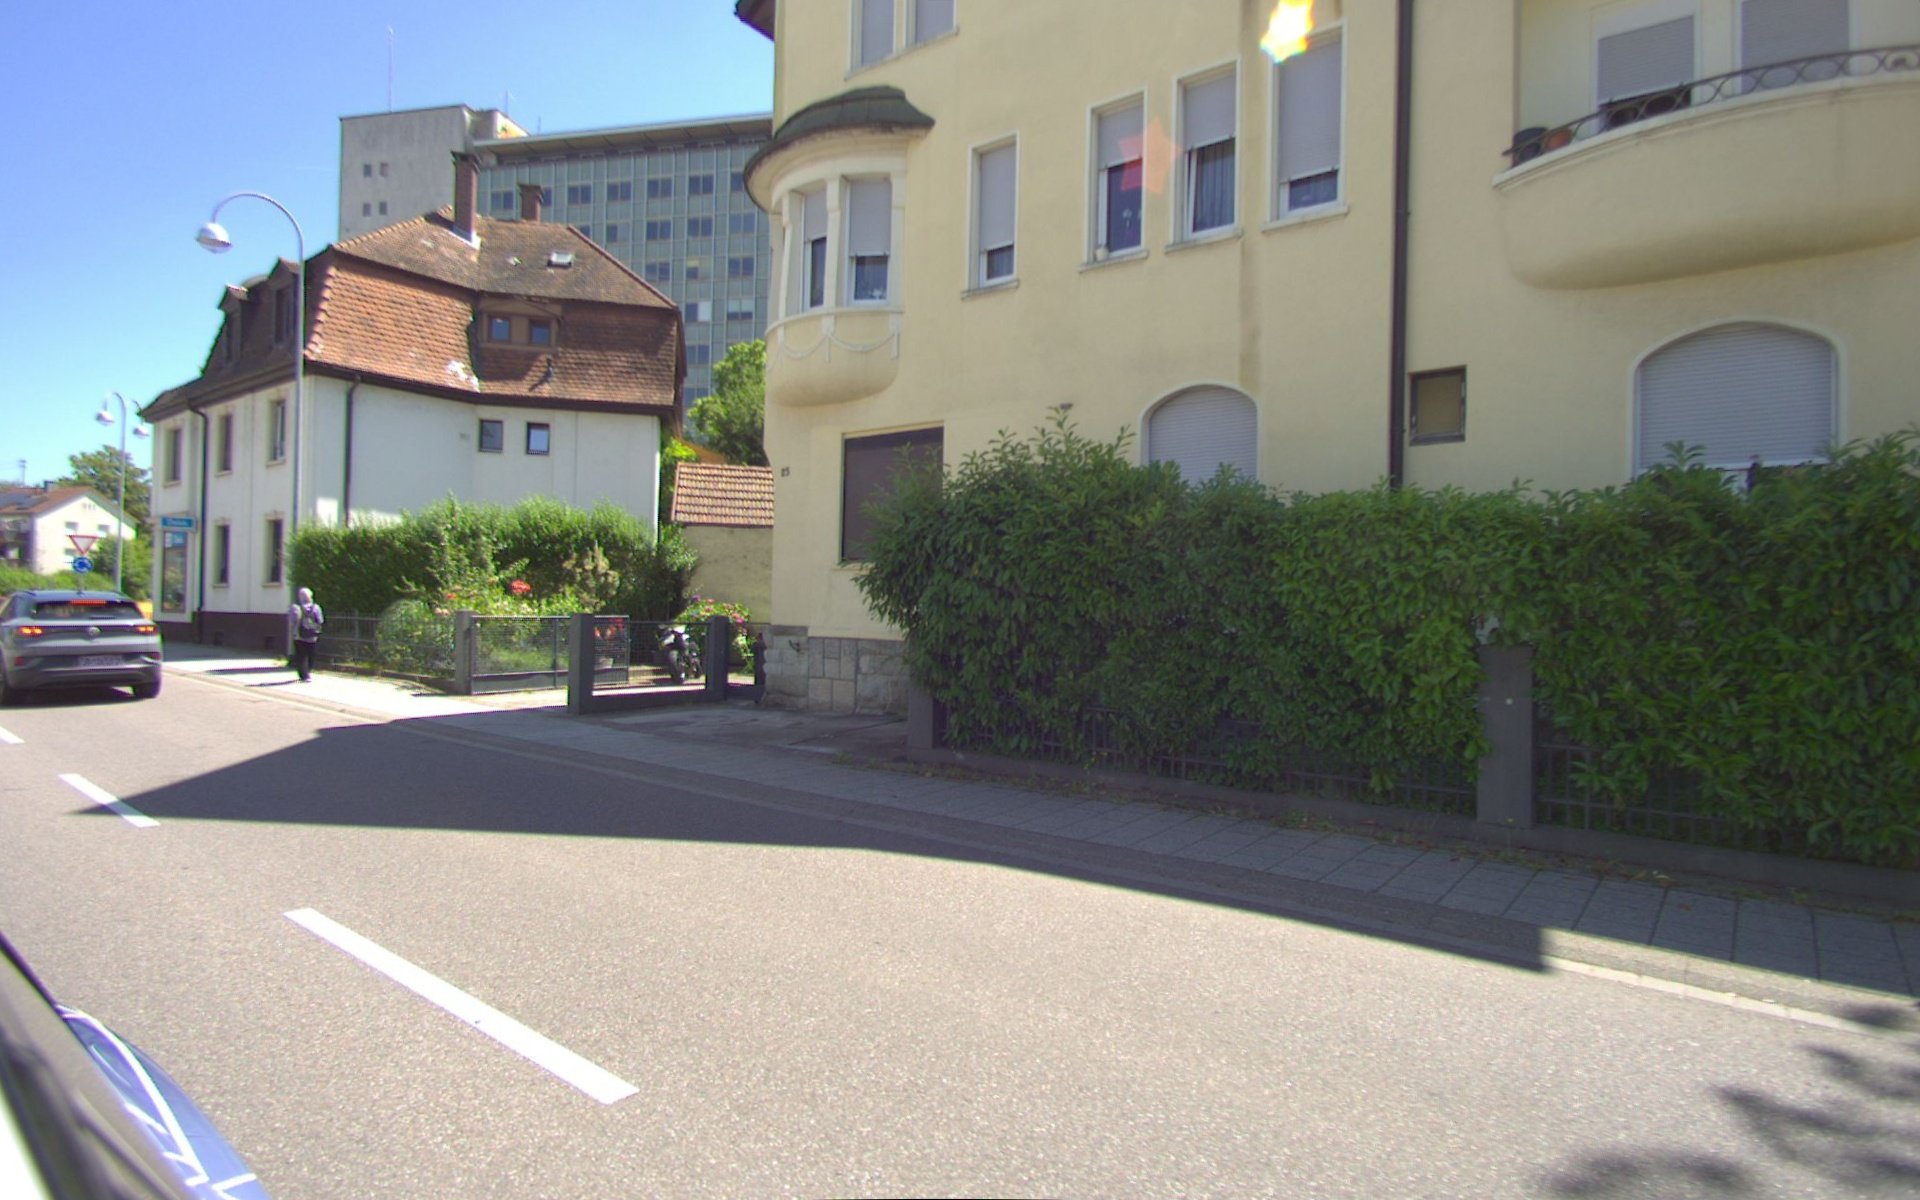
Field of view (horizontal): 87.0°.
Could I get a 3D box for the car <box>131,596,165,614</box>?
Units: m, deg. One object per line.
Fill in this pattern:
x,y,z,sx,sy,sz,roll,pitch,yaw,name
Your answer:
-58.510,0.357,72.943,1.703,1.305,4.010,0,0,-36,car

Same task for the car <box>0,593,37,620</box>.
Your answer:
-57.967,0.396,61.007,1.707,1.613,3.946,1,0,-13,car

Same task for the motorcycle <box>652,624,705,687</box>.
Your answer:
-5.397,1.032,19.502,0.705,1.114,2.149,1,-1,-8,motorcycle

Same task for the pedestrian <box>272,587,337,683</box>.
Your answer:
-11.281,0.581,17.414,0.823,1.576,0.607,0,4,38,pedestrian

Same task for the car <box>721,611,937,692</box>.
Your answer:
-2.445,0.980,19.668,1.866,1.391,3.947,0,-2,39,car

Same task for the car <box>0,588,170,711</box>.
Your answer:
-13.798,0.661,15.494,4.293,1.629,1.835,0,-1,40,car
